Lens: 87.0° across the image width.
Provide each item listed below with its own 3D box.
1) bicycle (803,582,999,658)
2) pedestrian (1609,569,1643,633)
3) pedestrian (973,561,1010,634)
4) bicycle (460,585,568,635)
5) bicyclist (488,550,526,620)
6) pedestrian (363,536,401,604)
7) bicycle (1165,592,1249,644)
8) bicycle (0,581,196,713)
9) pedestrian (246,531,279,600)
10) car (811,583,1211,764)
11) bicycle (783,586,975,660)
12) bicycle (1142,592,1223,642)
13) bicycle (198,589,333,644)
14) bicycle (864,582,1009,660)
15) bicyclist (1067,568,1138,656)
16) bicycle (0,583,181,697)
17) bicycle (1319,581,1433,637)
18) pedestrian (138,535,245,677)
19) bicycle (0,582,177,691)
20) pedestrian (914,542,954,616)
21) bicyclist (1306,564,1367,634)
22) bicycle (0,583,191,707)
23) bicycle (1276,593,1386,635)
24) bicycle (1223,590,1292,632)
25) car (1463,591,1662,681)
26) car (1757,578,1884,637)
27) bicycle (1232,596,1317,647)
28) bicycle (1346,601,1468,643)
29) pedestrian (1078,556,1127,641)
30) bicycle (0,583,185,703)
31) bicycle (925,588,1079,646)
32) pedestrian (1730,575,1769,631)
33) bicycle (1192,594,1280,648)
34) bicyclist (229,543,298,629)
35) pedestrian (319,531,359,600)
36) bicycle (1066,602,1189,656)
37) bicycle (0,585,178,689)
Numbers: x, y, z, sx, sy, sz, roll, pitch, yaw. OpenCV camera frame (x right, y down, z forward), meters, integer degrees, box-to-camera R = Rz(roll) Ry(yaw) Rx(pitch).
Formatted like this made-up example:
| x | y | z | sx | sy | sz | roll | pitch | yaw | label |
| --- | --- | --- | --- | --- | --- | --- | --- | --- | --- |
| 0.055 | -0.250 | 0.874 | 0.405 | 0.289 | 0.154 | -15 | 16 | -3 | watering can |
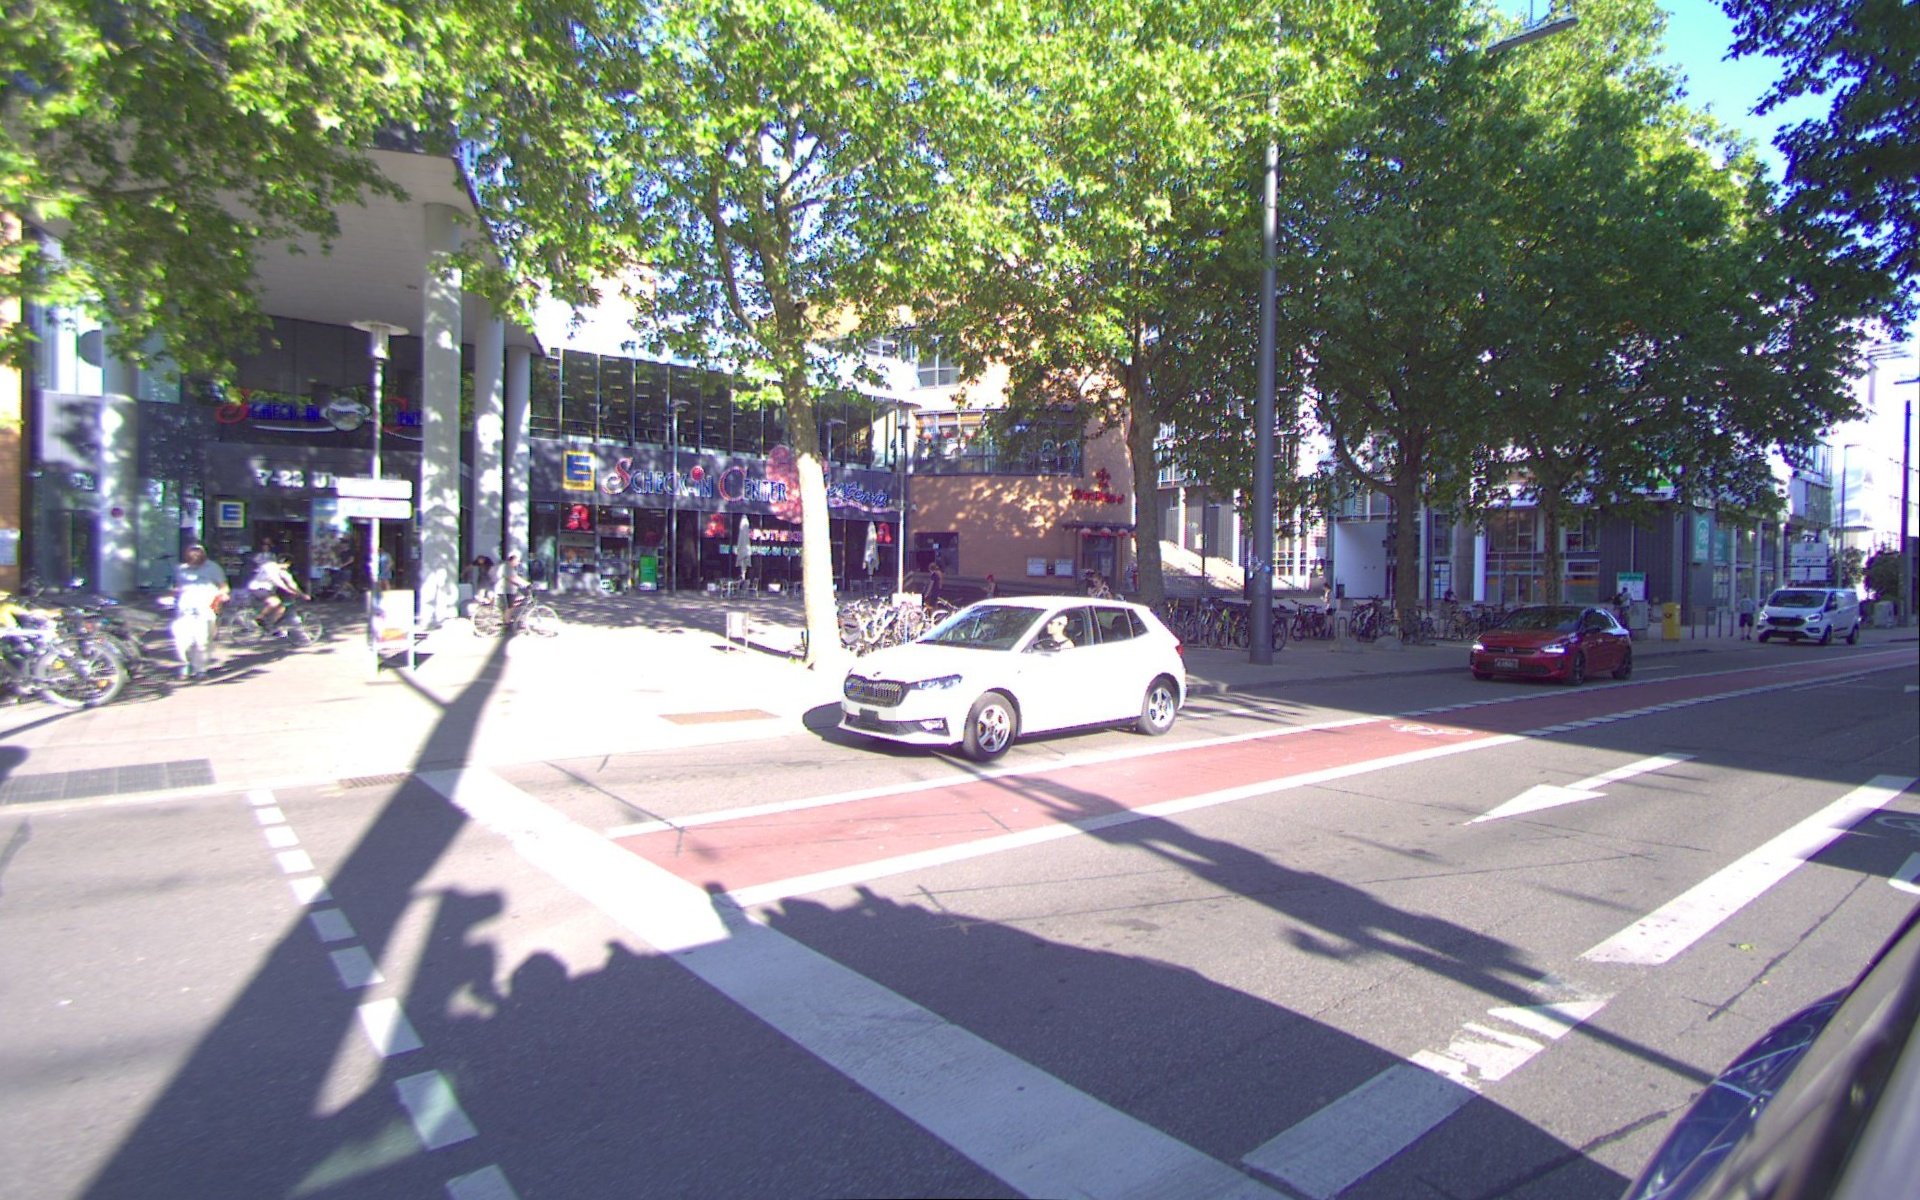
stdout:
| x | y | z | sx | sy | sz | roll | pitch | yaw | label |
| --- | --- | --- | --- | --- | --- | --- | --- | --- | --- |
| -1.020 | 0.328 | 18.637 | 3.744 | 1.236 | 0.758 | -2 | 1 | -35 | bicycle |
| 28.430 | 0.048 | 43.230 | 0.967 | 2.681 | 0.897 | -1 | 0 | 18 | pedestrian |
| 0.984 | -0.085 | 31.611 | 0.884 | 2.261 | 0.845 | -1 | 0 | -18 | pedestrian |
| -9.854 | 0.218 | 22.428 | 2.149 | 1.026 | 0.603 | 0 | 3 | -21 | bicycle |
| -9.986 | -0.332 | 22.346 | 0.735 | 1.503 | 0.594 | 0 | 3 | -21 | bicyclist |
| -17.769 | -0.908 | 31.108 | 0.815 | 2.039 | 0.827 | -1 | 0 | -15 | pedestrian |
| 5.922 | 0.413 | 24.201 | 2.263 | 1.177 | 0.671 | -1 | 0 | -38 | bicycle |
| -9.315 | 0.449 | 9.907 | 2.894 | 1.253 | 0.705 | -1 | 0 | -41 | bicycle |
| -21.036 | -1.023 | 30.532 | 0.640 | 2.039 | 0.825 | -1 | 0 | -20 | pedestrian |
| 0.676 | 0.602 | 10.549 | 4.124 | 1.508 | 1.833 | 0 | 0 | -43 | car |
| -1.472 | 0.471 | 19.267 | 3.742 | 1.236 | 0.729 | 4 | -2 | -35 | bicycle |
| 5.484 | 0.394 | 24.830 | 2.251 | 1.177 | 0.657 | -1 | 0 | -38 | bicycle |
| -13.094 | 0.295 | 19.161 | 2.058 | 0.964 | 0.749 | 0 | 3 | -30 | bicycle |
| -0.381 | 0.336 | 17.643 | 2.504 | 1.236 | 0.758 | -2 | 1 | -35 | bicycle |
| 2.741 | 0.219 | 19.432 | 1.005 | 1.641 | 0.902 | -1 | 0 | -40 | bicyclist |
| -10.736 | 0.454 | 11.547 | 2.894 | 1.253 | 0.704 | -1 | -1 | -41 | bicycle |
| 11.641 | 0.238 | 28.305 | 3.156 | 1.503 | 0.896 | 0 | 0 | -19 | bicycle |
| -10.680 | 0.067 | 14.099 | 0.857 | 1.913 | 0.813 | 1 | 2 | 2 | pedestrian |
| -11.226 | 0.422 | 12.110 | 2.894 | 1.253 | 0.705 | -1 | 0 | -41 | bicycle |
| -0.824 | -0.640 | 31.820 | 1.195 | 2.276 | 1.052 | -1 | 0 | -3 | pedestrian |
| 11.272 | -0.052 | 30.344 | 1.132 | 2.039 | 1.301 | -1 | 1 | -23 | bicyclist |
| -9.778 | 0.451 | 10.450 | 2.894 | 1.244 | 0.686 | -1 | 0 | -41 | bicycle |
| 11.151 | 0.387 | 30.613 | 1.124 | 1.097 | 3.342 | 0 | 2 | -23 | bicycle |
| 9.103 | 0.322 | 30.932 | 2.653 | 1.215 | 0.698 | -1 | 1 | -41 | bicycle |
| 11.314 | 0.608 | 18.909 | 4.118 | 1.509 | 1.835 | 0 | -1 | -38 | car |
| 30.883 | 0.237 | 36.274 | 5.803 | 1.989 | 1.935 | 0 | 0 | -33 | car |
| 7.124 | 0.458 | 22.891 | 2.295 | 1.073 | 0.682 | -1 | 1 | -39 | bicycle |
| 12.013 | 0.569 | 27.178 | 3.136 | 1.038 | 0.979 | -1 | 0 | -18 | bicycle |
| 3.523 | -0.045 | 24.983 | 0.922 | 2.039 | 1.085 | 1 | 1 | 24 | pedestrian |
| -10.260 | 0.453 | 10.989 | 2.894 | 1.253 | 0.705 | -1 | 0 | -41 | bicycle |
| 0.921 | 0.304 | 20.986 | 3.352 | 1.014 | 1.051 | -1 | 5 | -41 | bicycle |
| 29.027 | 0.123 | 37.207 | 0.958 | 2.039 | 0.816 | 1 | -1 | -31 | pedestrian |
| 6.433 | 0.455 | 23.536 | 2.355 | 1.177 | 0.751 | -1 | 0 | -39 | bicycle |
| -13.148 | -0.267 | 19.136 | 1.009 | 1.586 | 0.809 | -1 | 0 | -30 | bicyclist |
| -18.805 | -1.041 | 30.669 | 0.829 | 2.039 | 0.822 | -1 | 0 | -16 | pedestrian |
| 3.324 | 0.538 | 19.919 | 2.591 | 0.960 | 0.924 | -1 | 0 | -40 | bicycle |
| -11.655 | 0.457 | 12.684 | 2.894 | 1.253 | 0.696 | -1 | -2 | -41 | bicycle |
